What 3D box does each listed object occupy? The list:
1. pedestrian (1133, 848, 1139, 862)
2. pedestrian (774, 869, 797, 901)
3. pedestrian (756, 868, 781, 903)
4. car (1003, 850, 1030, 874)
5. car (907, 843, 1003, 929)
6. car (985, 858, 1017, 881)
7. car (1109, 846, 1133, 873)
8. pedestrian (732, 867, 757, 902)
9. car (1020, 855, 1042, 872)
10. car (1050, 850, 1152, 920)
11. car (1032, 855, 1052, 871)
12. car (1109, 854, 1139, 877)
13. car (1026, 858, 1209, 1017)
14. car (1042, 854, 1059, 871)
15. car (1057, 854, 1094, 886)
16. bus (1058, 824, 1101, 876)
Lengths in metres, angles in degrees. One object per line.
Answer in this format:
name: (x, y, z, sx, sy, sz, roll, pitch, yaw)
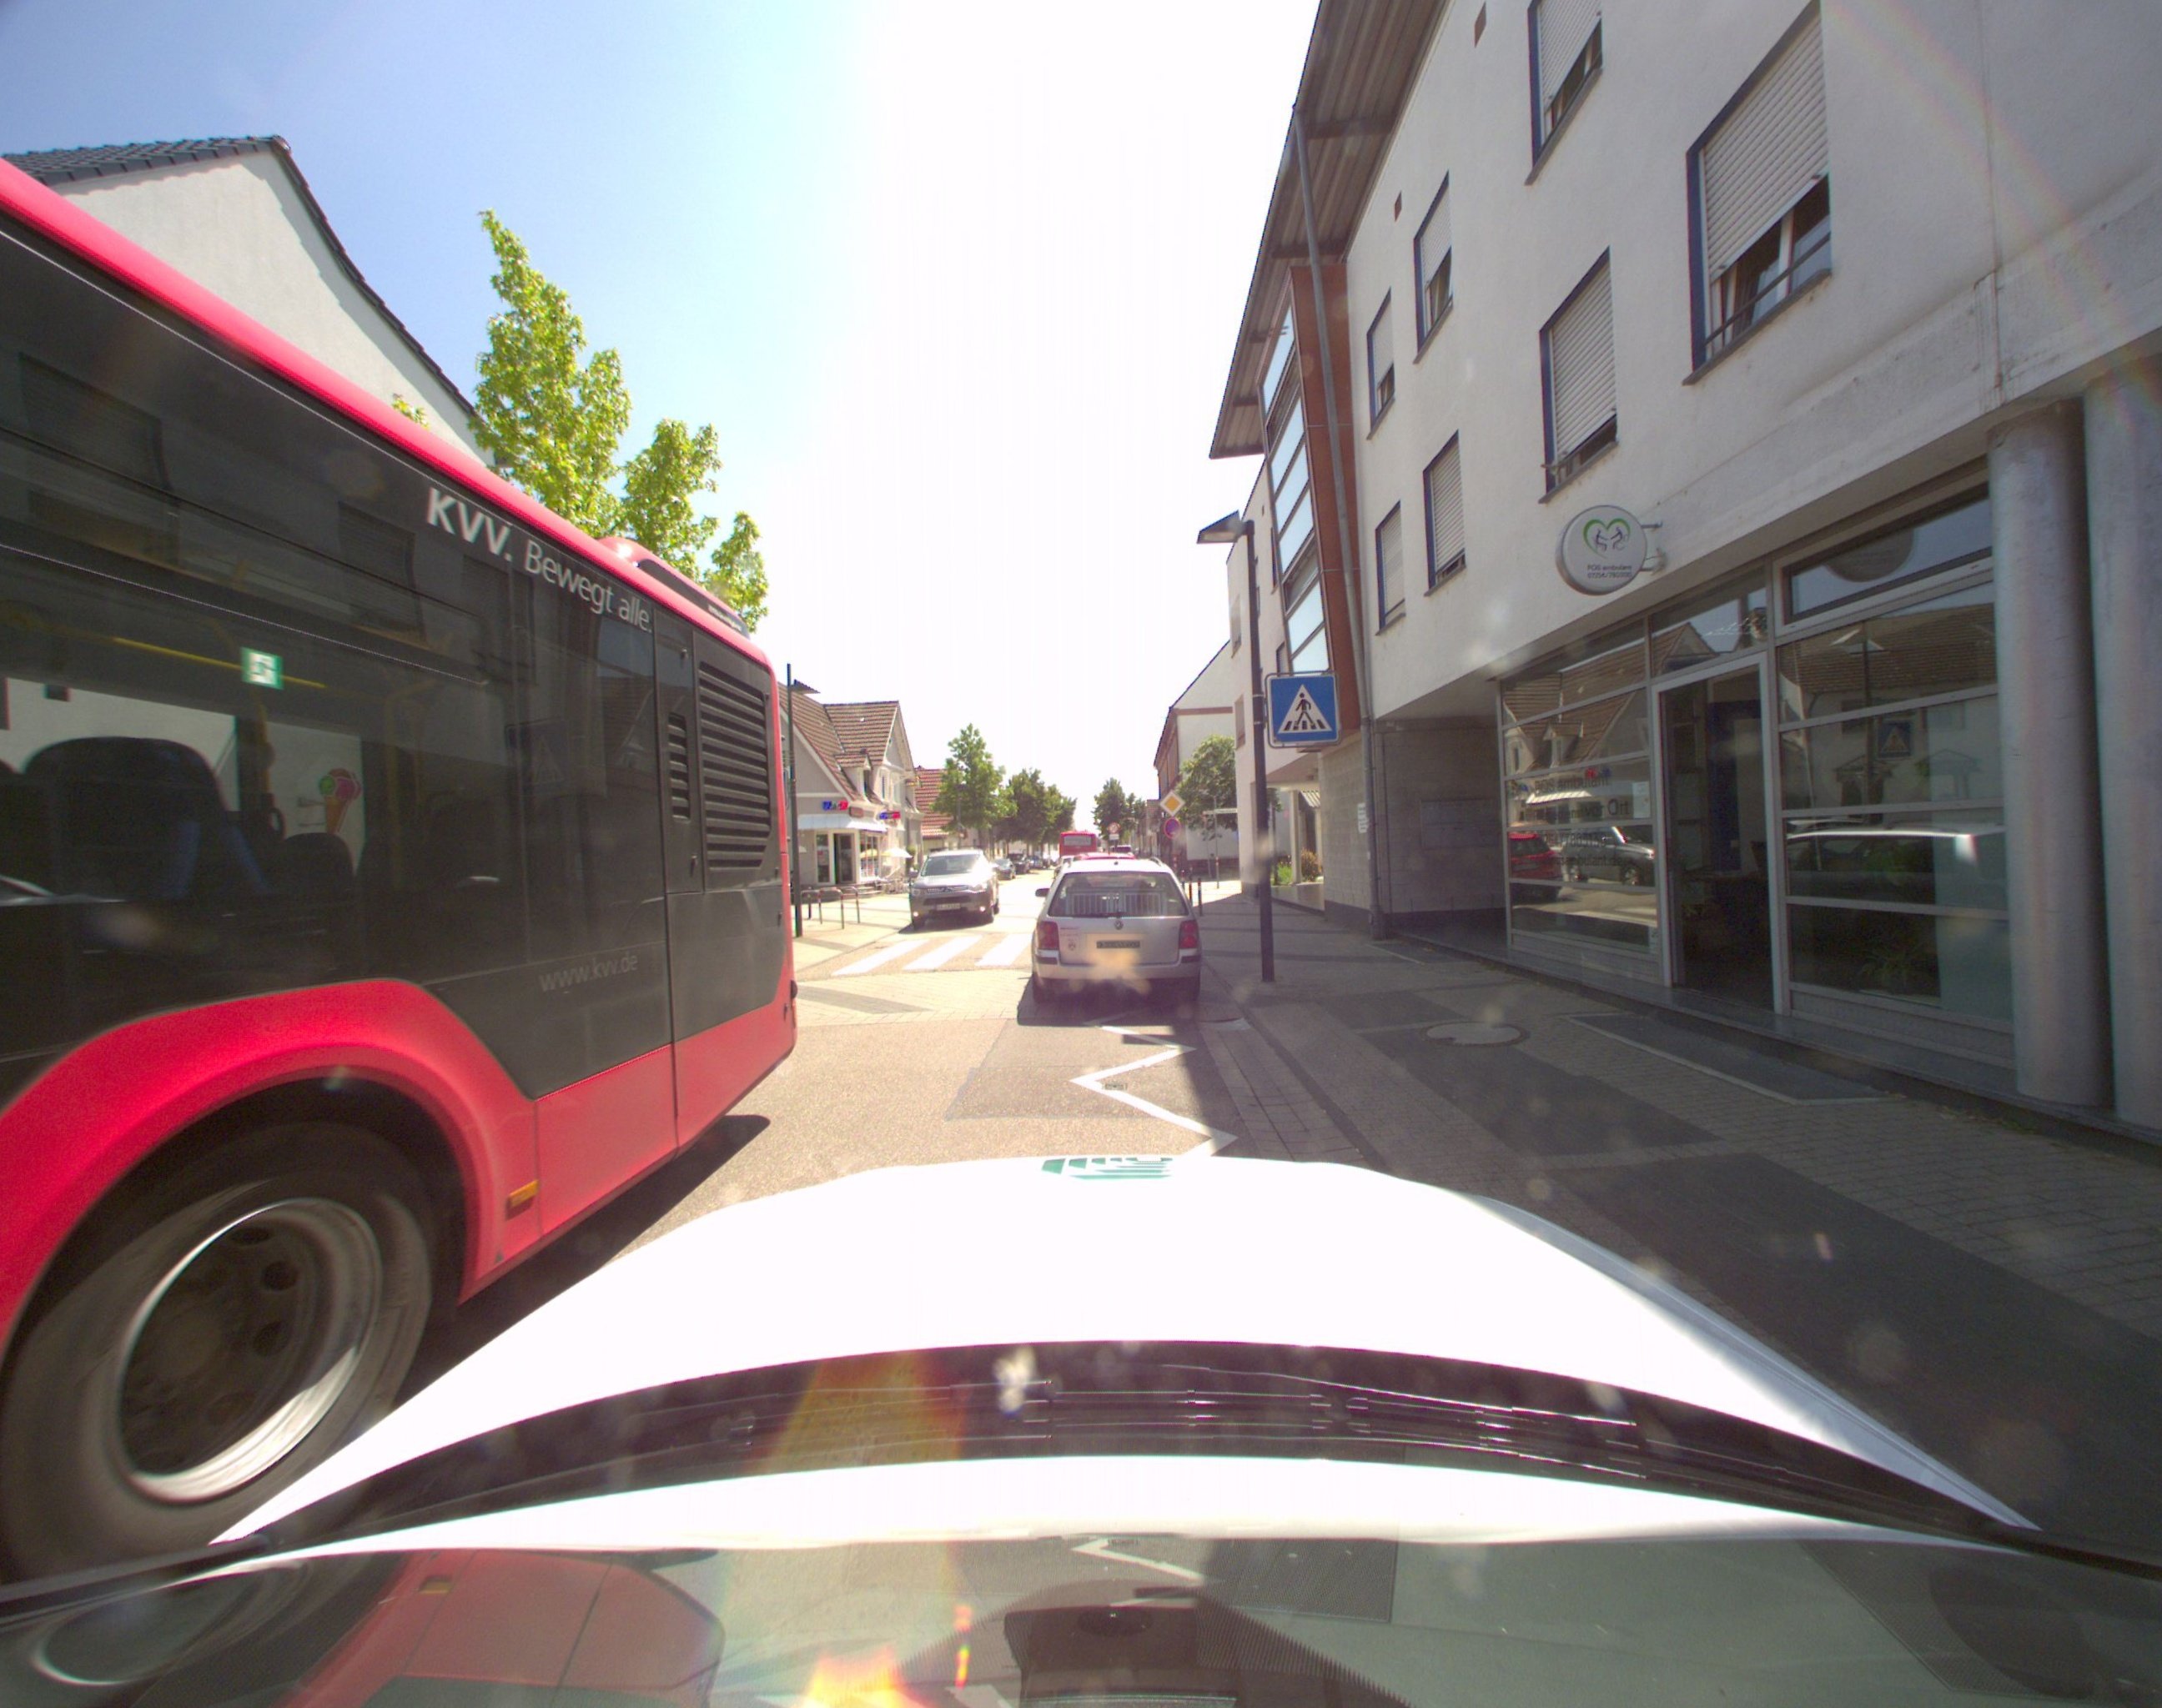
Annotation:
pedestrian: (6.647, 0.174, 98.457, 0.604, 1.667, 0.789, -2, 0, 0)
pedestrian: (-11.518, 1.199, 31.725, 0.620, 1.179, 0.696, -2, 0, -3)
pedestrian: (-11.800, 1.175, 30.735, 0.639, 1.289, 0.780, 0, -1, -42)
car: (-5.293, 0.669, 66.945, 1.758, 1.838, 3.790, -3, 0, 1)
car: (-2.837, 0.666, 19.126, 1.671, 1.716, 4.228, -3, 0, -2)
car: (-5.387, 1.032, 55.355, 1.599, 1.438, 4.066, -3, 0, 1)
car: (3.178, 0.439, 65.739, 1.781, 2.082, 3.626, -3, 0, 1)
pedestrian: (-12.784, 1.158, 30.928, 0.639, 1.289, 0.780, 0, -1, -42)
car: (-4.987, 0.956, 81.714, 1.805, 1.559, 4.001, -3, 0, 1)
car: (0.371, 0.669, 19.328, 1.677, 1.430, 3.666, -2, 0, -10)
car: (-4.203, 0.976, 88.385, 1.805, 1.559, 4.001, -3, 0, 1)
car: (2.617, 0.697, 50.502, 1.713, 1.309, 3.626, -3, 0, 1)
car: (0.385, 0.766, 9.272, 1.671, 1.430, 3.681, 0, 0, 2)
car: (-3.800, 1.061, 100.963, 1.805, 1.995, 4.001, -3, 0, 1)
car: (-0.240, 0.755, 40.078, 1.587, 1.430, 3.682, -1, 0, 3)
bus: (0.046, -0.230, 59.840, 2.730, 3.298, 12.708, -2, 0, 1)
